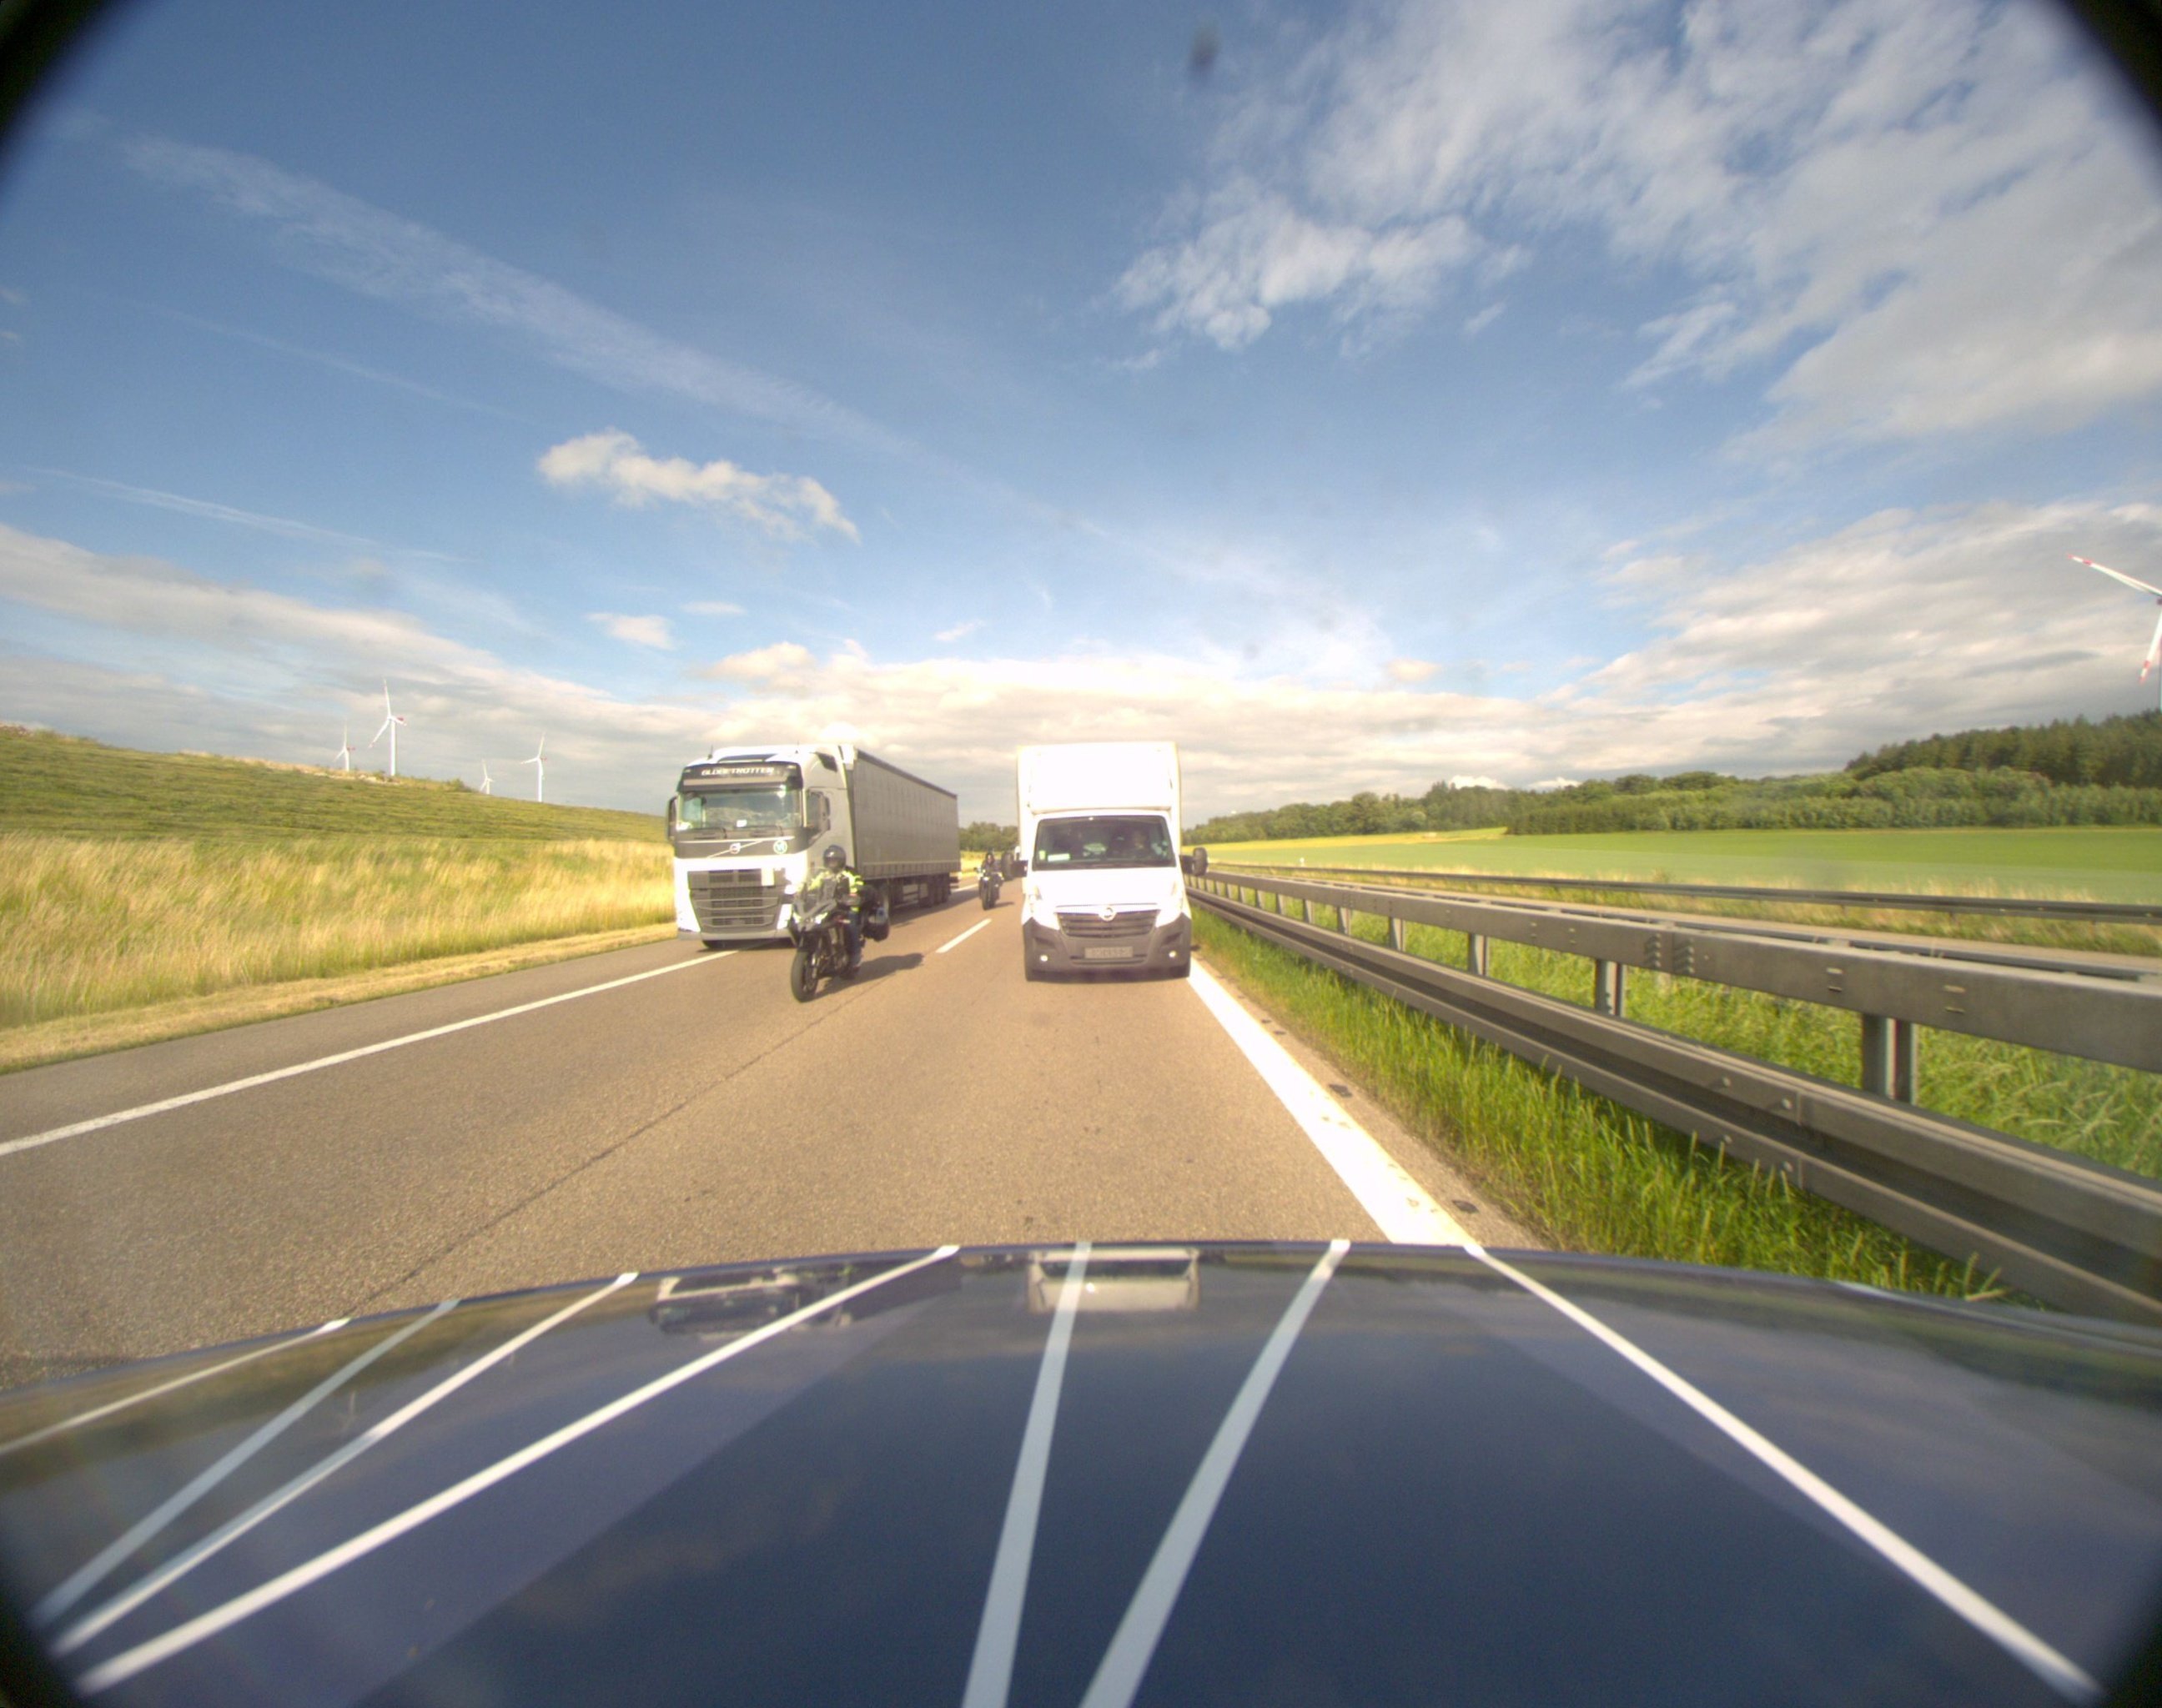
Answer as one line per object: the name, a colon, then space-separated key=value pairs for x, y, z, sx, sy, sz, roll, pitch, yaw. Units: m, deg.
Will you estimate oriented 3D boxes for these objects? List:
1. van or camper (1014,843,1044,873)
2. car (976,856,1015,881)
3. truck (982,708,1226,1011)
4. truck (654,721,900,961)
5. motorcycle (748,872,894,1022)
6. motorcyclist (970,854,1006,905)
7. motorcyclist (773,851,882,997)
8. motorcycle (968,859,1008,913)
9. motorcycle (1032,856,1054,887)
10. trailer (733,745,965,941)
van or camper: x=-4.655 y=0.319 z=68.751 sx=2.102 sy=2.530 sz=6.412 roll=-2 pitch=1 yaw=1
car: x=-5.454 y=0.891 z=48.934 sx=1.871 sy=1.409 sz=4.461 roll=-2 pitch=1 yaw=1
truck: x=0.236 y=0.070 z=13.626 sx=2.502 sy=3.141 sz=11.162 roll=-2 pitch=0 yaw=0
truck: x=-5.895 y=-0.229 z=15.995 sx=2.607 sy=4.017 sz=6.119 roll=-1 pitch=1 yaw=0
motorcycle: x=-2.972 y=0.992 z=9.010 sx=0.898 sy=1.447 sz=2.269 roll=-2 pitch=1 yaw=0
motorcyclist: x=-2.754 y=0.739 z=22.545 sx=0.898 sy=1.447 sz=0.892 roll=-2 pitch=1 yaw=0
motorcyclist: x=-2.973 y=0.786 z=9.024 sx=0.898 sy=1.608 sz=1.022 roll=-2 pitch=1 yaw=0
motorcycle: x=-2.725 y=0.914 z=22.530 sx=0.898 sy=1.447 sz=1.982 roll=-2 pitch=1 yaw=1
motorcycle: x=-1.866 y=0.840 z=37.854 sx=0.898 sy=1.447 sz=2.269 roll=-2 pitch=1 yaw=1
trailer: x=-5.881 y=-0.271 z=22.714 sx=2.623 sy=4.017 sz=13.697 roll=-1 pitch=0 yaw=0
